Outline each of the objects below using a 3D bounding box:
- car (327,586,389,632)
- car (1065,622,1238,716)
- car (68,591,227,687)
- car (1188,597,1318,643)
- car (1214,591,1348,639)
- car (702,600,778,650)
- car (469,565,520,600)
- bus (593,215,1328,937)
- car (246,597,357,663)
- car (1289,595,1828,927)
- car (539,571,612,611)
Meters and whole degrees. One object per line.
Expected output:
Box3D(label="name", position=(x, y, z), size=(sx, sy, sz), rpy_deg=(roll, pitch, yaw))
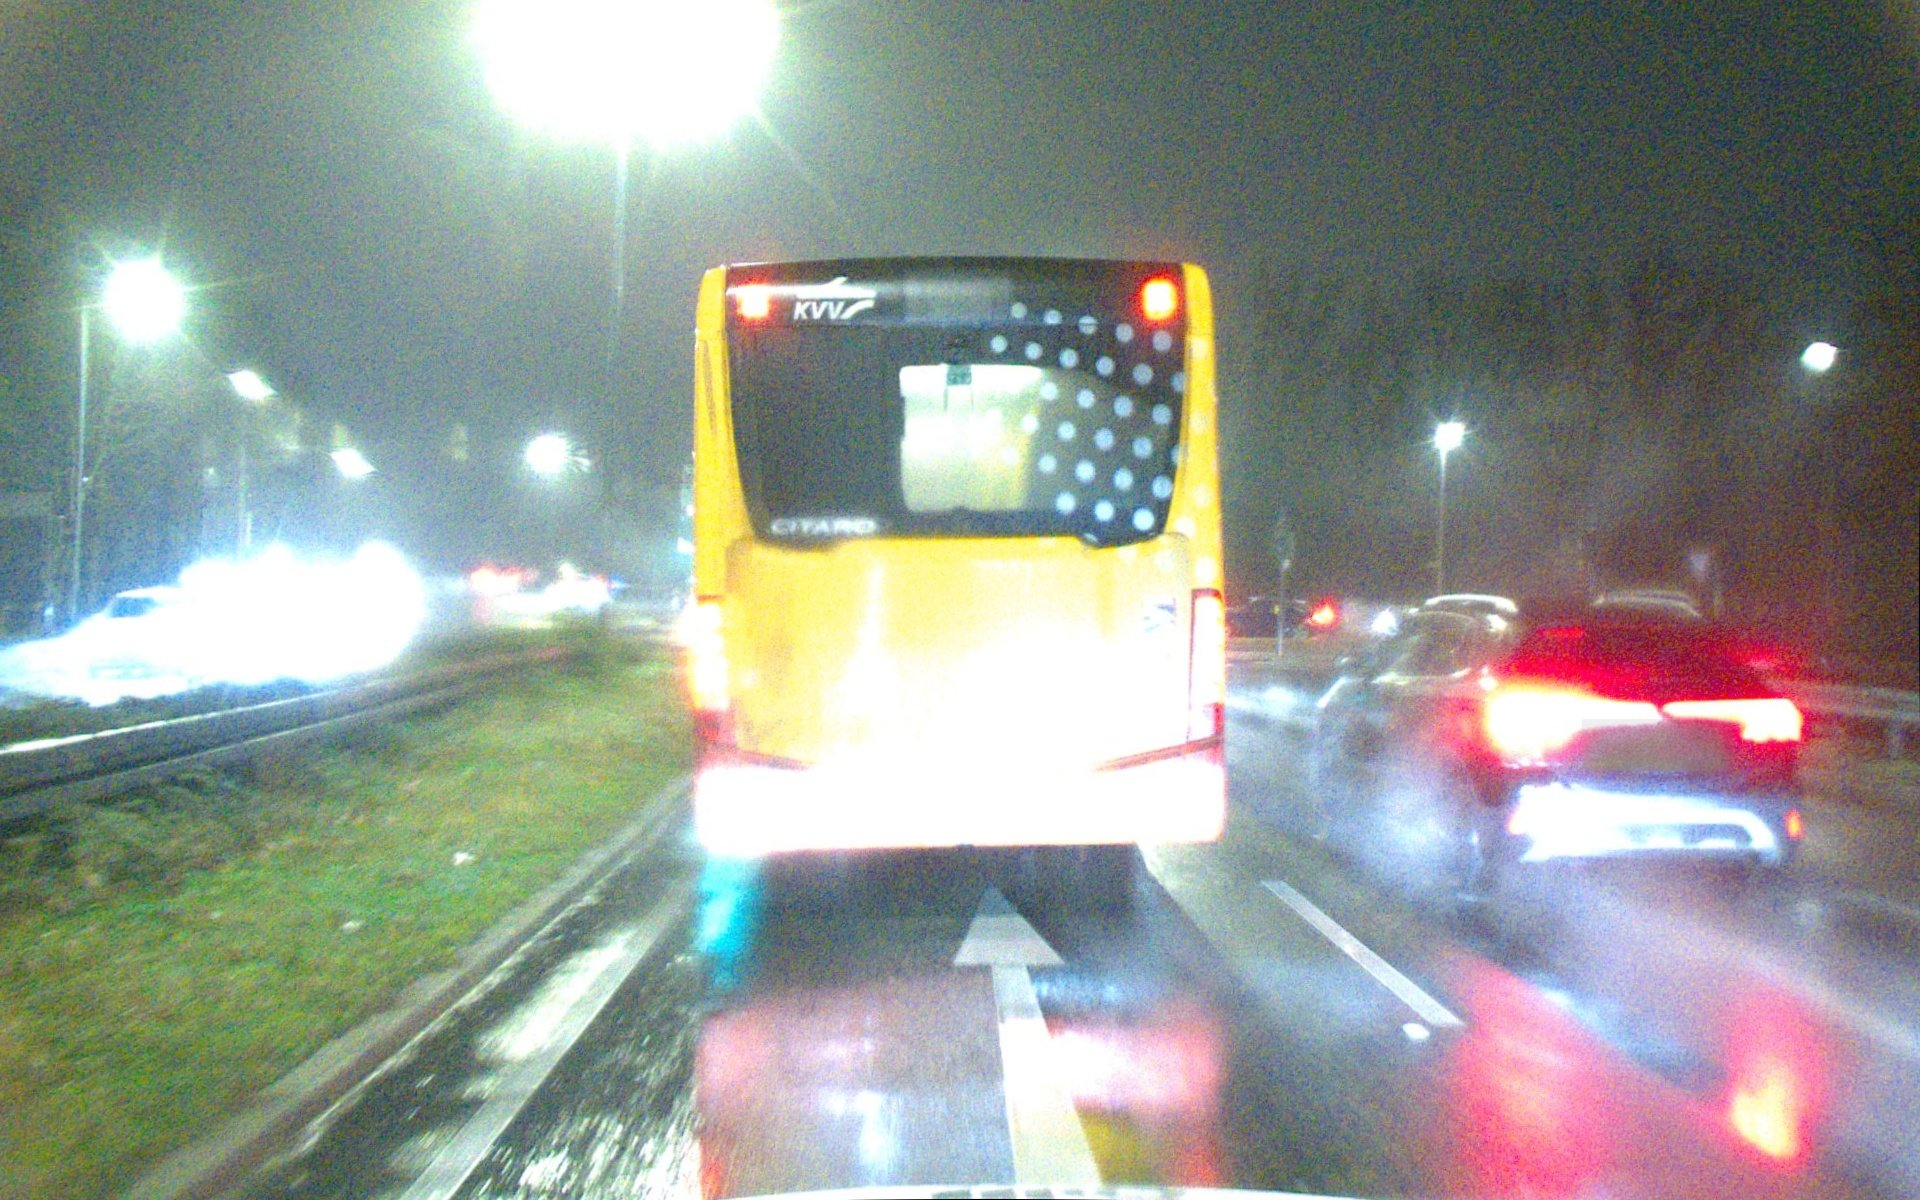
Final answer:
Box3D(label="car", position=(-21.631, 0.329, 59.535), size=(1.706, 1.522, 3.924), rpy_deg=(-2, 0, -15))
Box3D(label="car", position=(2.952, 1.052, 26.298), size=(1.656, 1.354, 3.950), rpy_deg=(2, -1, -10))
Box3D(label="car", position=(-14.600, 0.654, 29.906), size=(1.817, 1.598, 3.495), rpy_deg=(0, 1, -13))
Box3D(label="car", position=(9.868, 0.661, 55.875), size=(3.965, 1.369, 1.745), rpy_deg=(1, 1, -7))
Box3D(label="car", position=(11.621, 0.535, 60.019), size=(4.398, 1.545, 1.854), rpy_deg=(1, 1, -7))
Box3D(label="car", position=(-7.595, 0.841, 56.841), size=(1.789, 1.646, 3.976), rpy_deg=(2, -1, -20))
Box3D(label="car", position=(-24.816, -0.893, 88.101), size=(1.968, 1.751, 3.968), rpy_deg=(2, -1, -25))
Box3D(label="bus", position=(-0.300, -0.192, 11.994), size=(3.220, 3.103, 9.536), rpy_deg=(0, 1, -4))
Box3D(label="car", position=(-17.082, 0.749, 43.105), size=(1.742, 1.621, 4.550), rpy_deg=(0, 0, -9))
Box3D(label="car", position=(3.247, 0.790, 9.838), size=(1.643, 1.548, 3.958), rpy_deg=(1, -1, -2))
Box3D(label="car", position=(-17.289, -0.393, 74.228), size=(2.069, 1.672, 3.688), rpy_deg=(2, -1, -33))
